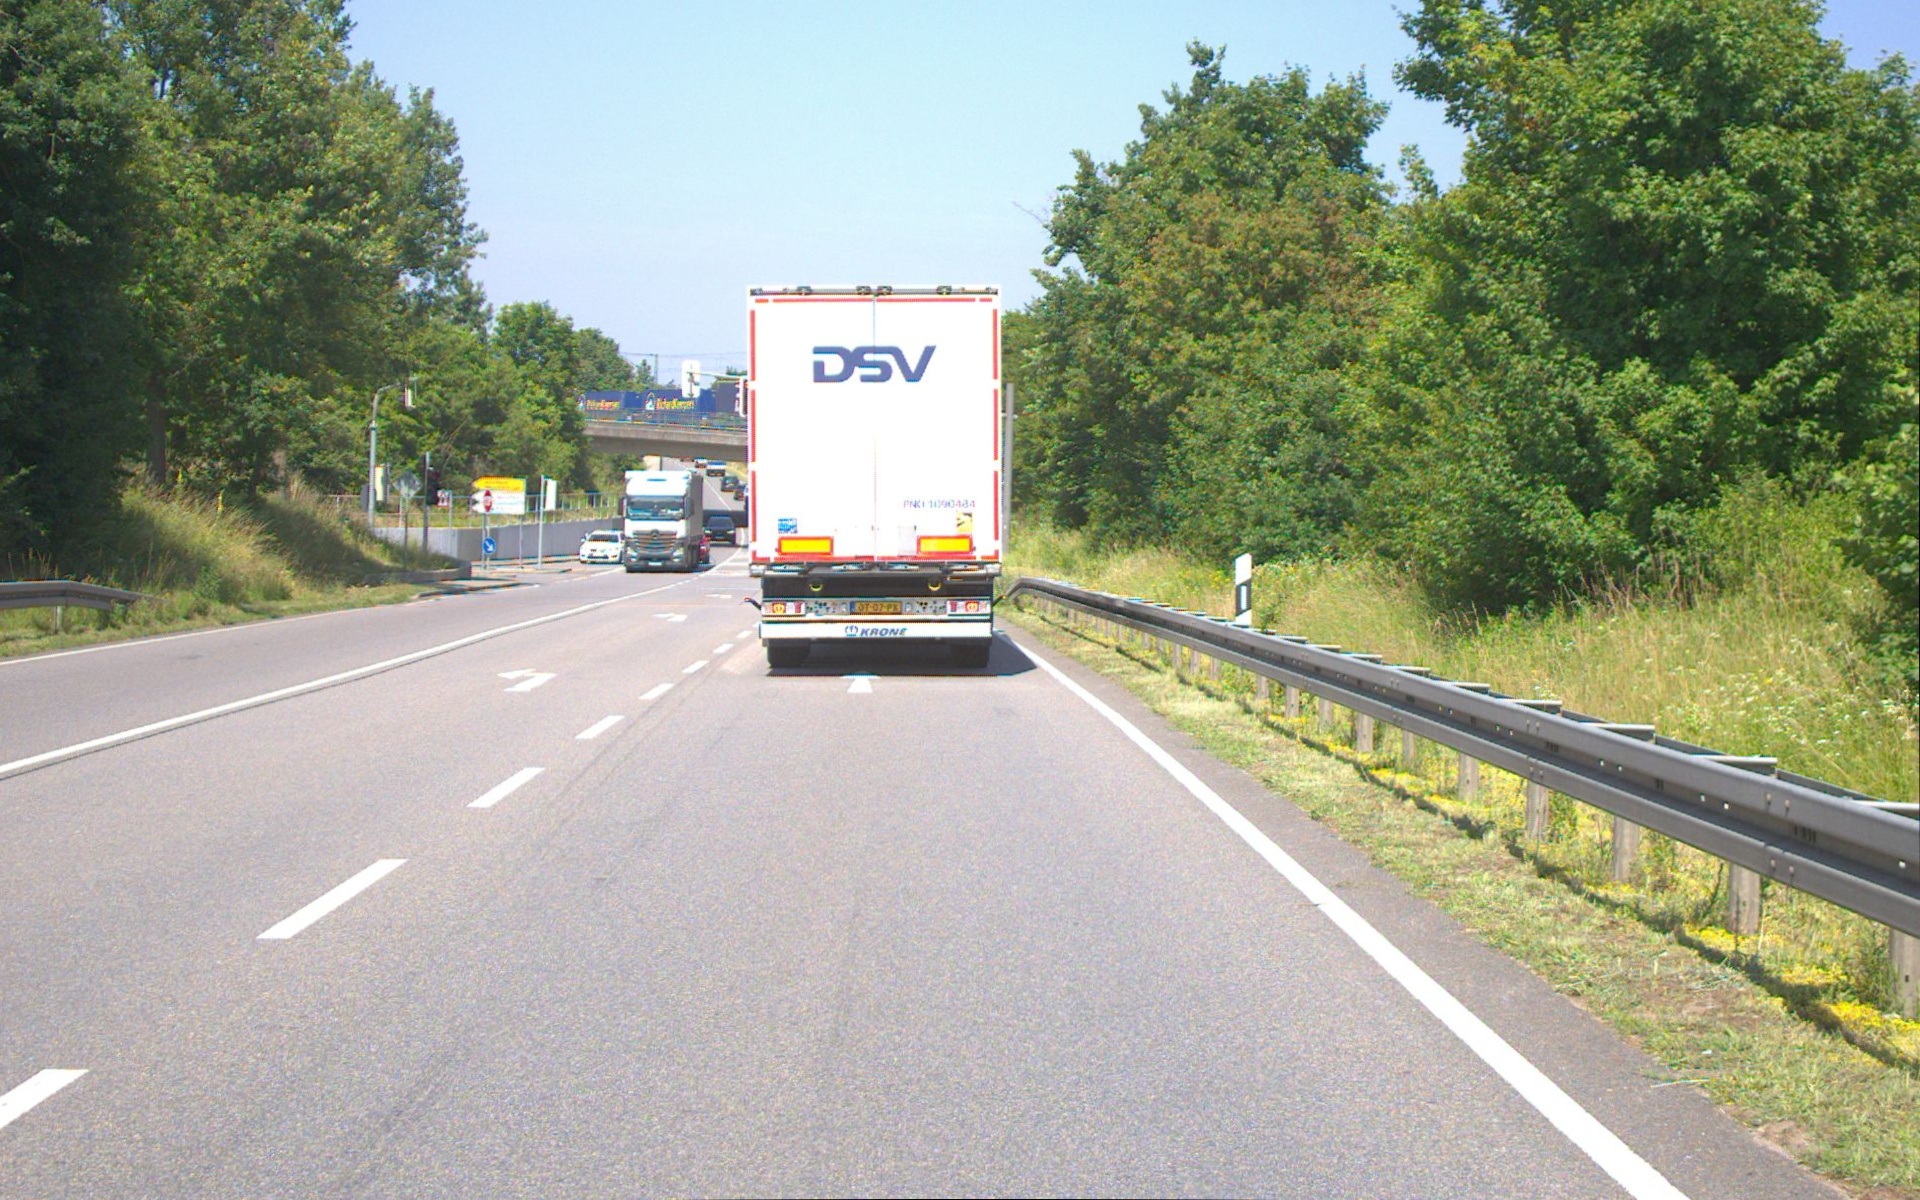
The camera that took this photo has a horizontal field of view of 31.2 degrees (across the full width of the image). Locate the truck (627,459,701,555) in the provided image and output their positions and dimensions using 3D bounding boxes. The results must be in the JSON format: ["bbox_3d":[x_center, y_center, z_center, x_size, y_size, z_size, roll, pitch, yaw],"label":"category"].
[{"bbox_3d":[-12.012,-3.803,140.279,2.353,3.737,12.627,0,2,-2],"label":"truck"}]

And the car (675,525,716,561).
[{"bbox_3d":[-12.131,-2.632,157.881,1.747,1.620,3.704,0,2,-2],"label":"car"}]

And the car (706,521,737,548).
[{"bbox_3d":[-14.449,-3.967,208.464,1.747,1.620,3.704,0,2,-2],"label":"car"}]

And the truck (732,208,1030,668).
[{"bbox_3d":[-0.829,-1.709,39.091,2.950,4.553,9.863,0,1,-1],"label":"truck"}]

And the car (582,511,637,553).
[{"bbox_3d":[-15.834,-3.096,155.476,1.802,1.865,4.419,0,2,4],"label":"car"}]
